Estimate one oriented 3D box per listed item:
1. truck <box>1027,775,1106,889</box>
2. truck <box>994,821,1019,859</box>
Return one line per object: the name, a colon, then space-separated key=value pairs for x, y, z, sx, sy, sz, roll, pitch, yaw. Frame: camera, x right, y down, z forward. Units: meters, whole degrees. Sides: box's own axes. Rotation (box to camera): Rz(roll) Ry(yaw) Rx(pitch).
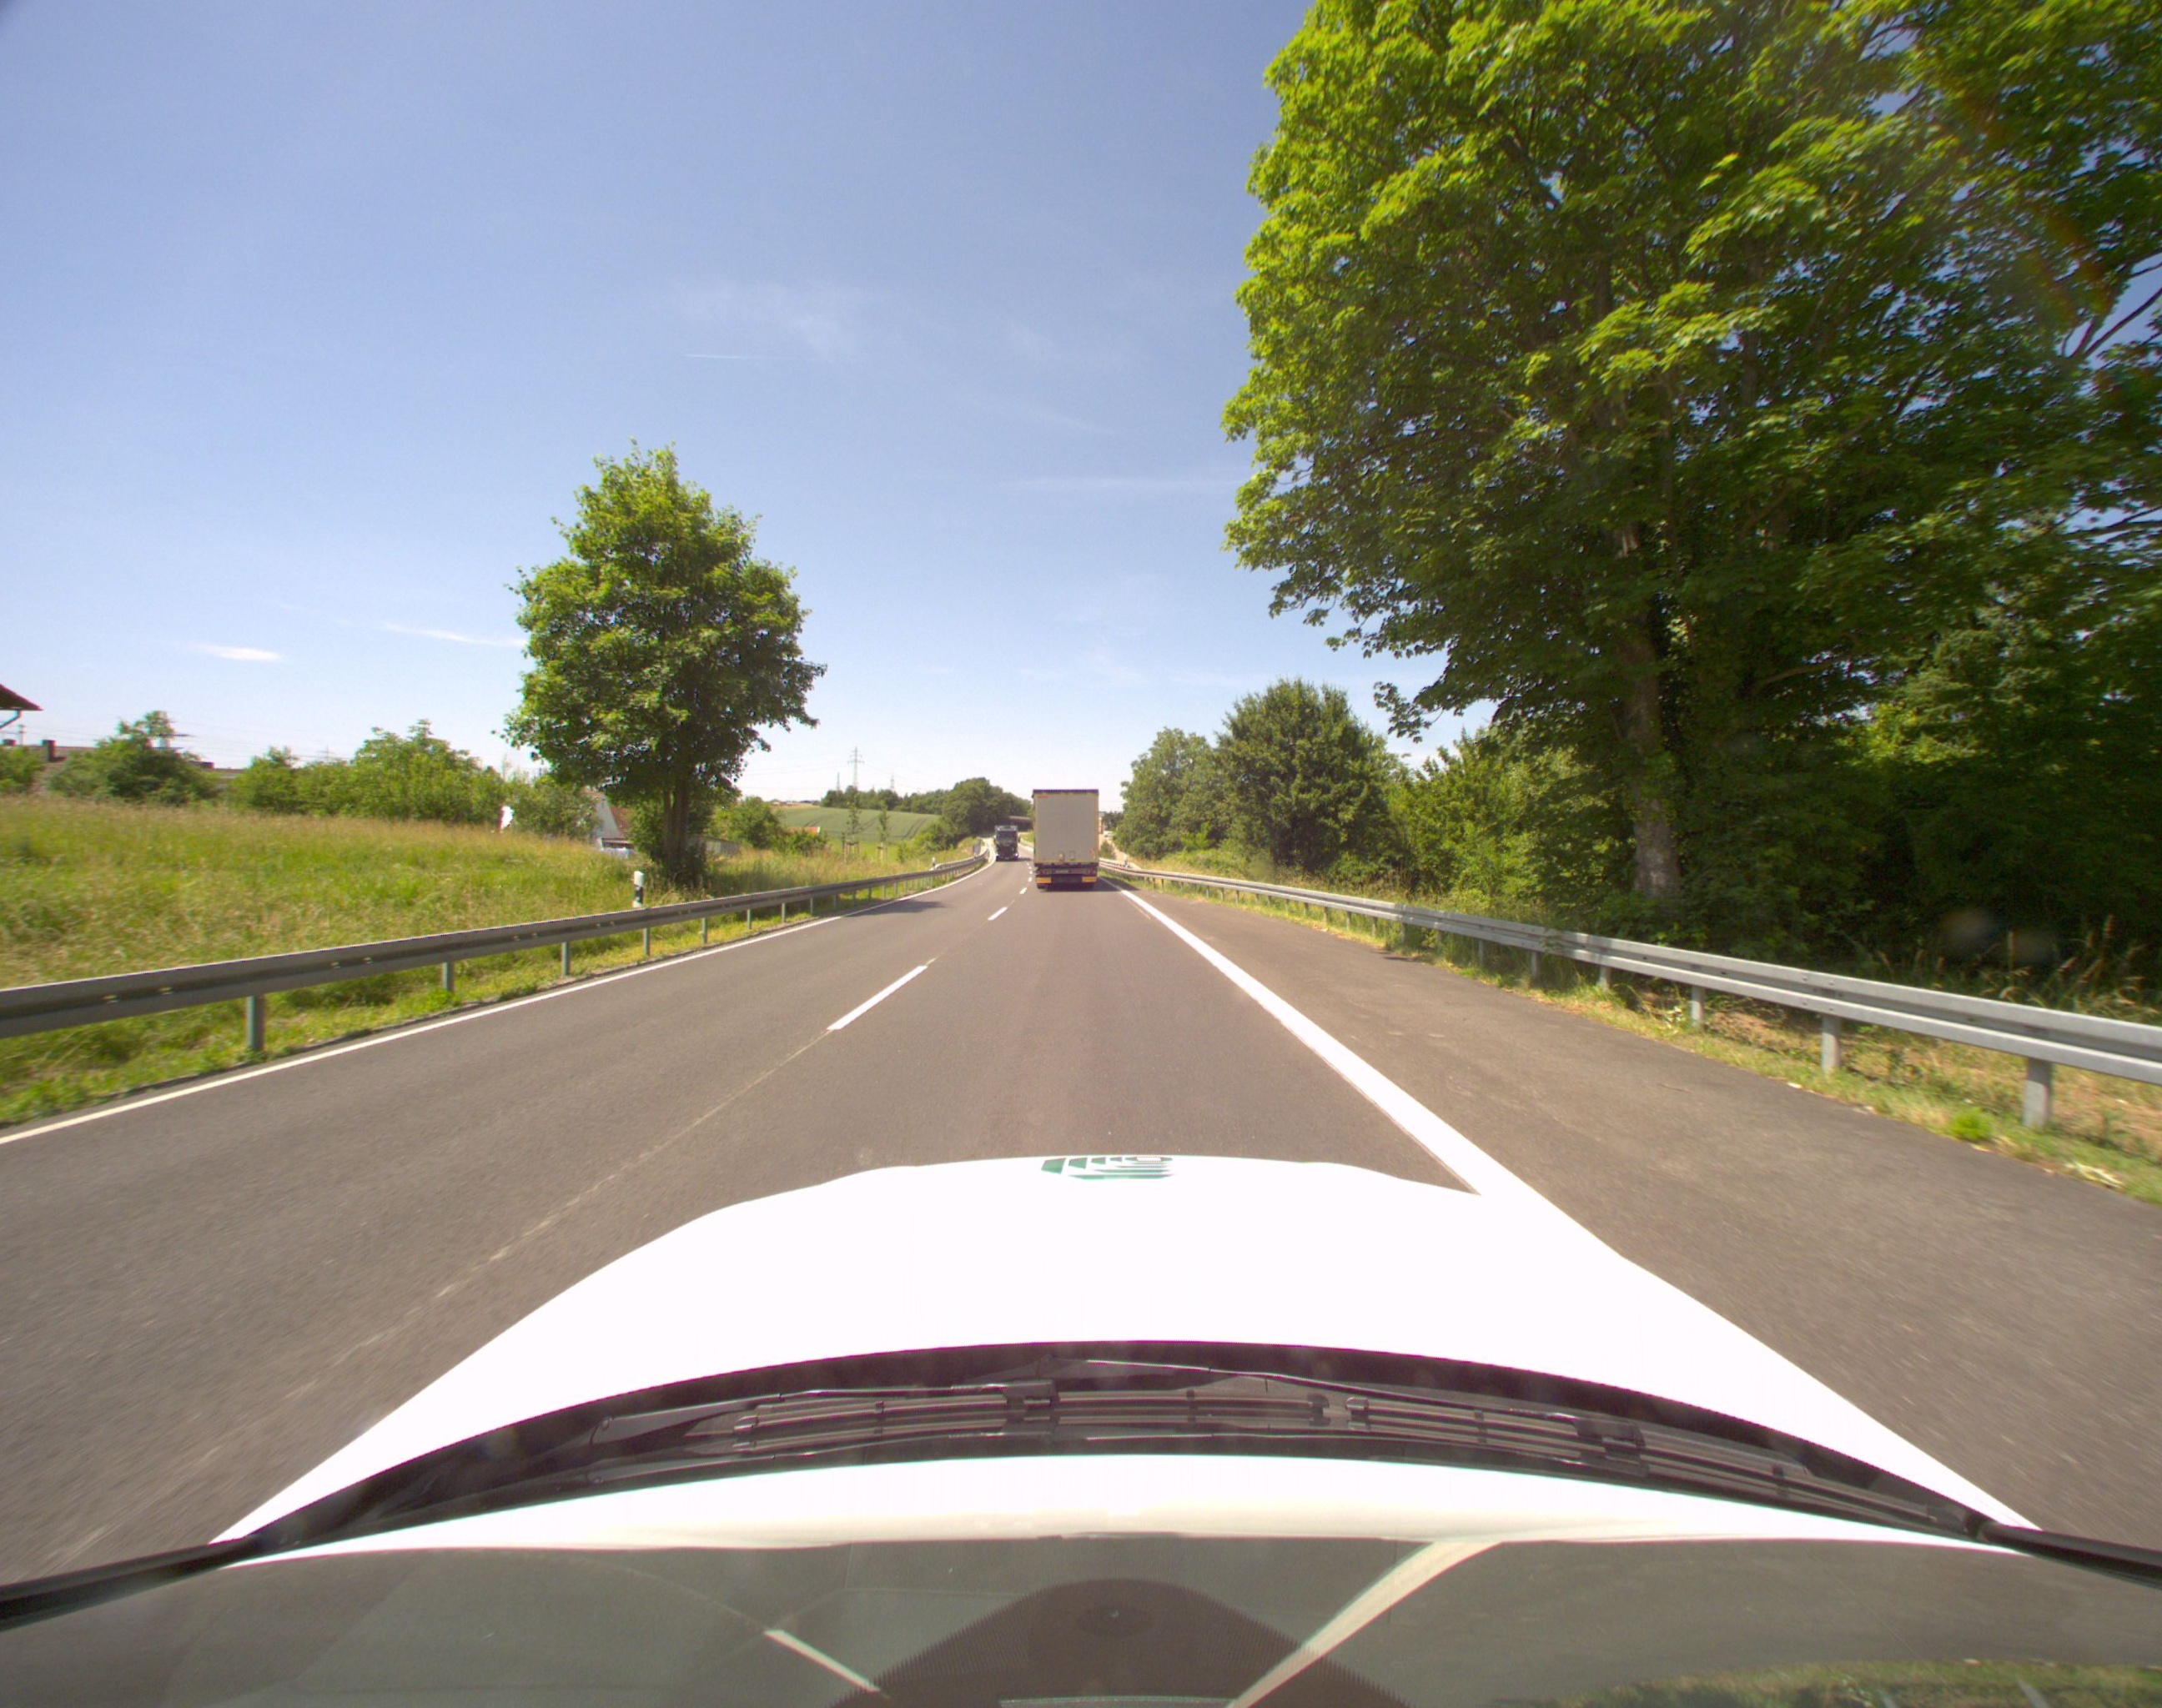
truck: x=-0.881 y=-0.880 z=36.367 sx=2.861 sy=4.359 sz=9.773 roll=-1 pitch=0 yaw=-4
truck: x=-8.511 y=-1.545 z=93.332 sx=2.440 sy=4.194 sz=5.643 roll=-1 pitch=0 yaw=-2
